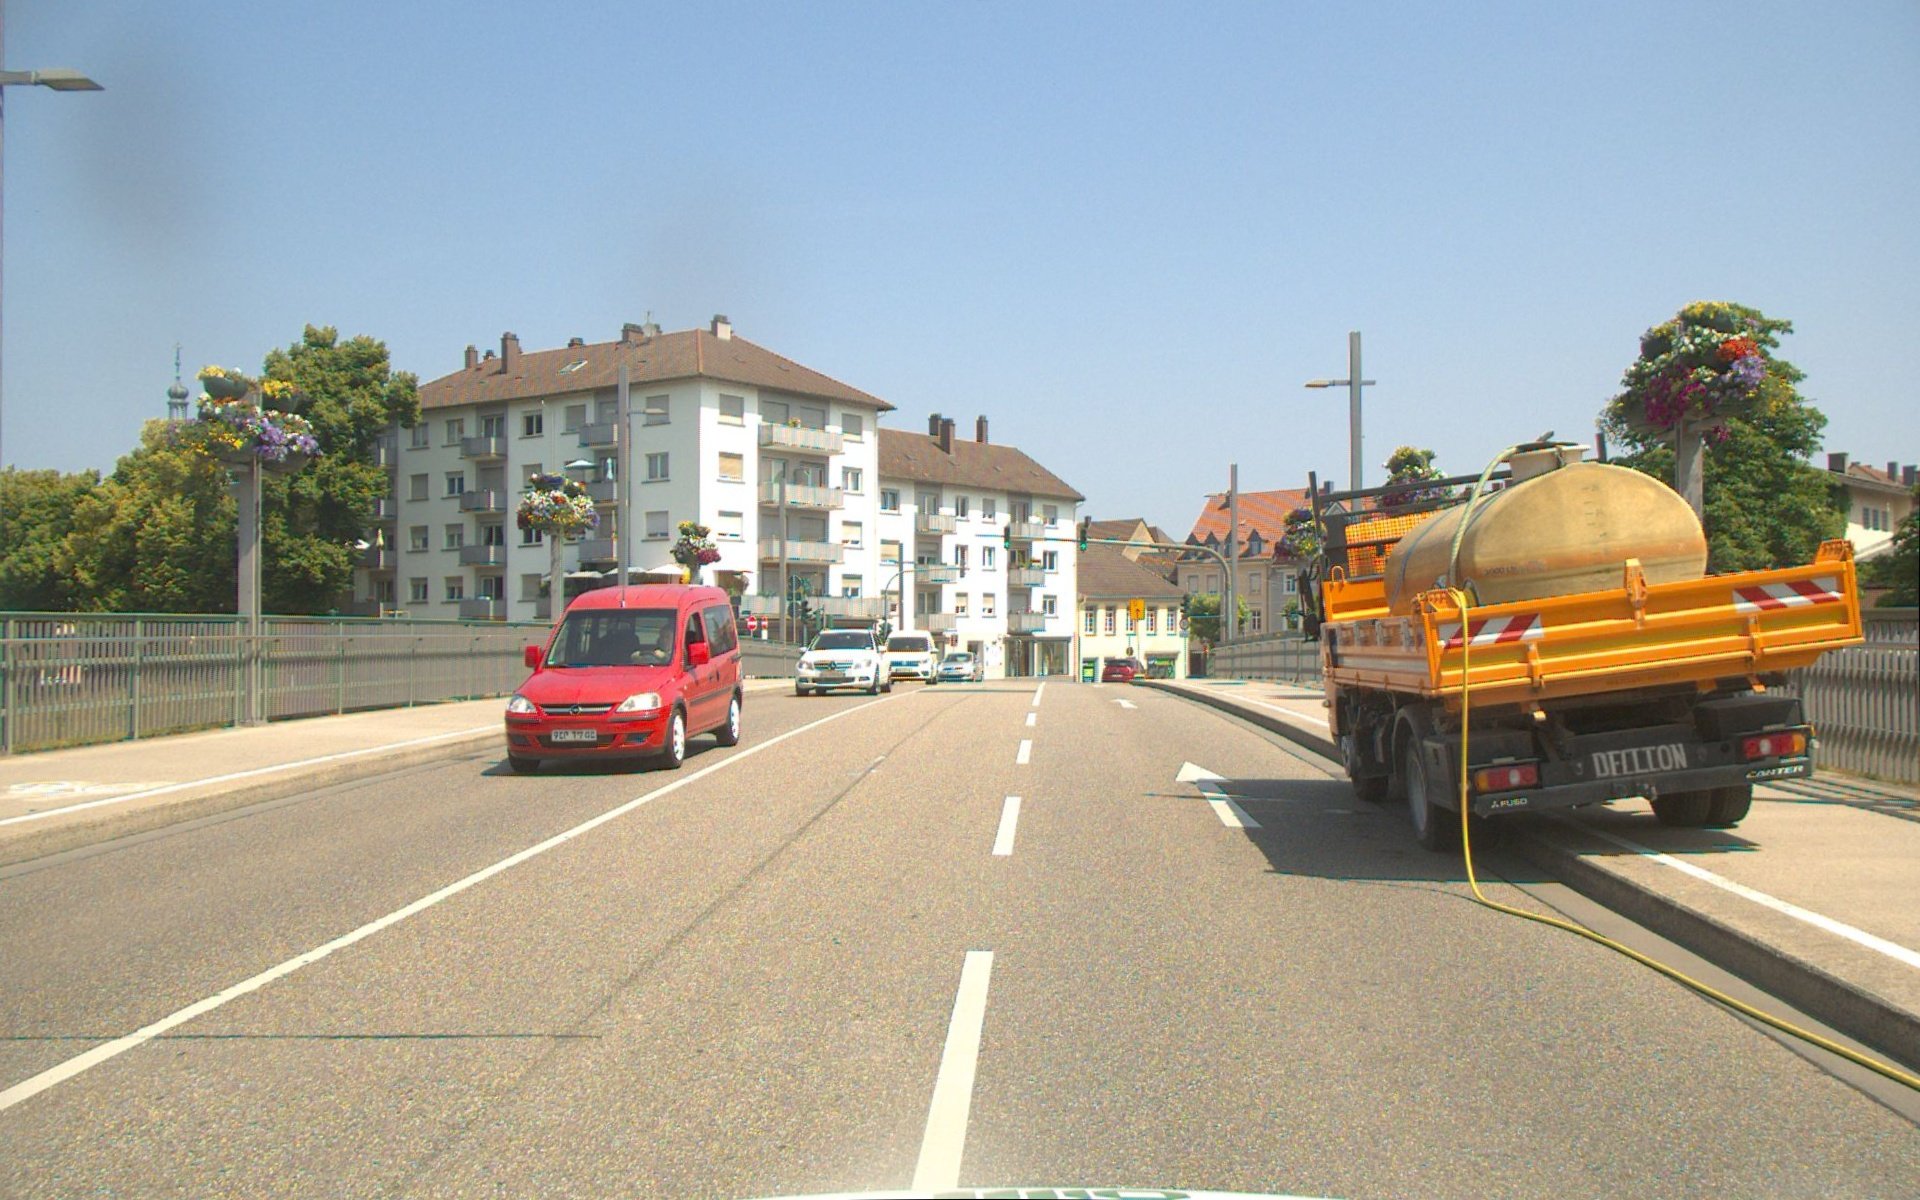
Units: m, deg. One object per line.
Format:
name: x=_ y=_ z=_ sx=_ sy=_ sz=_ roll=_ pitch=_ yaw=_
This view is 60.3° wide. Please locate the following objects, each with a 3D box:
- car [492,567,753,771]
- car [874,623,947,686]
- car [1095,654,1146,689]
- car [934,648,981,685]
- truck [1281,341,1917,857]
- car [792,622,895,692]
car: x=-3.371 y=0.689 z=17.319 sx=1.700 sy=1.808 sz=4.177 roll=-2 pitch=-2 yaw=2
car: x=-1.611 y=1.847 z=55.249 sx=1.722 sy=1.890 sz=4.649 roll=-4 pitch=-3 yaw=6
car: x=8.135 y=3.585 z=83.504 sx=1.947 sy=1.641 sz=4.345 roll=-1 pitch=-1 yaw=14
car: x=-0.101 y=2.940 z=73.558 sx=1.723 sy=1.546 sz=4.002 roll=-2 pitch=-2 yaw=5
truck: x=3.966 y=0.031 z=11.760 sx=2.551 sy=2.738 sz=5.825 roll=0 pitch=-1 yaw=3
car: x=-2.521 y=1.289 z=36.844 sx=1.806 sy=1.457 sz=4.714 roll=0 pitch=-3 yaw=2
